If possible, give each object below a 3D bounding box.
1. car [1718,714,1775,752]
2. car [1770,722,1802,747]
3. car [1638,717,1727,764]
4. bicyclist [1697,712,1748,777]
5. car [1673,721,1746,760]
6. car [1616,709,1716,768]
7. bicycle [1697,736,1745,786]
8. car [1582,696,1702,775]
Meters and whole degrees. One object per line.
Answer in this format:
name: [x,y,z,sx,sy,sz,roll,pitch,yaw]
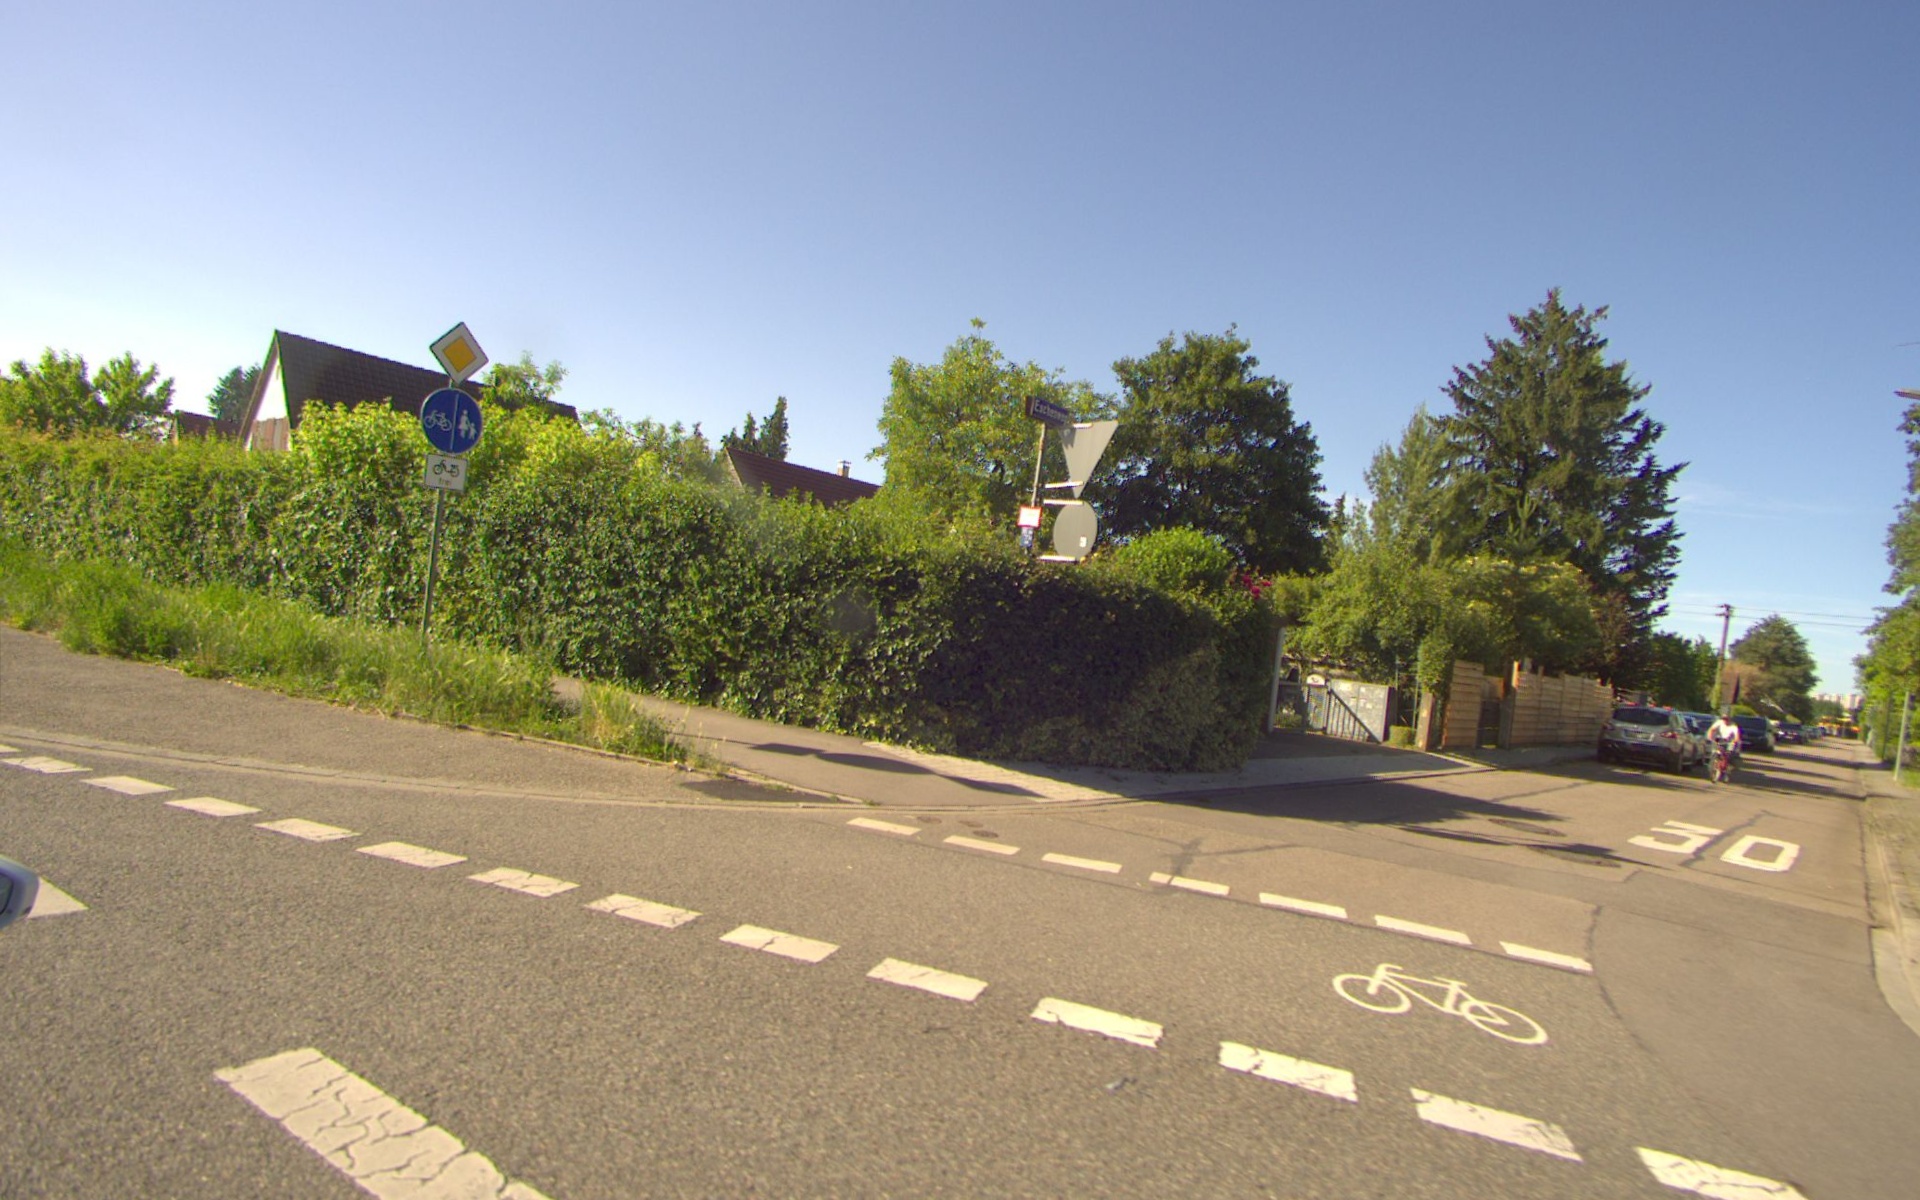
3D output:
car: [42.138,7.078,53.855,2.040,1.687,3.700,7,0,42]
car: [72.429,11.783,88.223,1.923,1.849,3.700,7,0,42]
car: [24.793,4.776,34.495,2.040,1.191,3.700,7,0,42]
bicyclist: [18.228,3.441,24.029,0.777,1.414,1.108,7,0,41]
car: [31.020,5.773,41.611,2.040,1.191,3.700,7,0,42]
car: [21.786,4.270,30.986,2.040,1.391,3.703,7,-2,42]
bicycle: [18.356,3.853,24.251,0.694,1.054,2.411,7,-1,41]
car: [17.954,3.578,26.413,2.040,1.606,3.705,7,-3,42]
